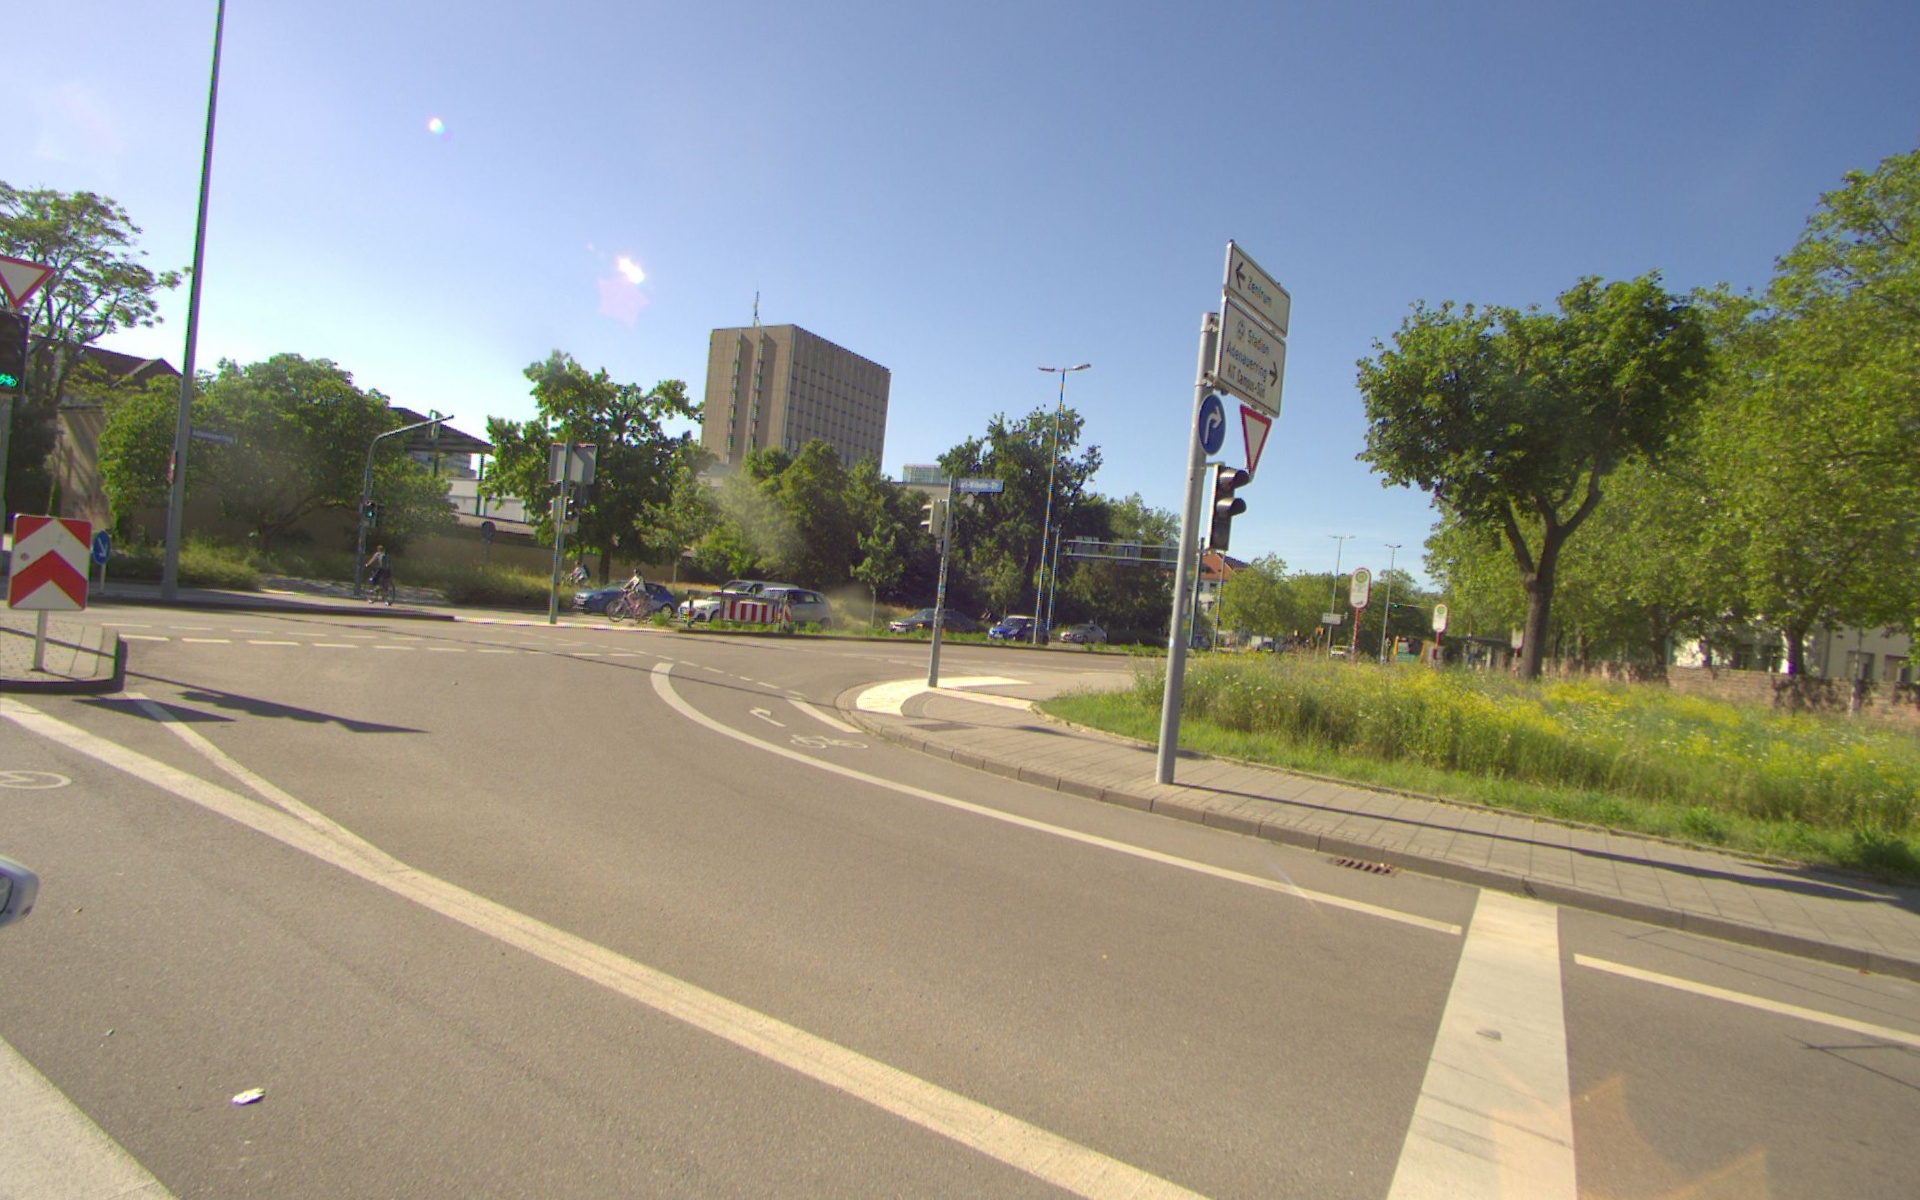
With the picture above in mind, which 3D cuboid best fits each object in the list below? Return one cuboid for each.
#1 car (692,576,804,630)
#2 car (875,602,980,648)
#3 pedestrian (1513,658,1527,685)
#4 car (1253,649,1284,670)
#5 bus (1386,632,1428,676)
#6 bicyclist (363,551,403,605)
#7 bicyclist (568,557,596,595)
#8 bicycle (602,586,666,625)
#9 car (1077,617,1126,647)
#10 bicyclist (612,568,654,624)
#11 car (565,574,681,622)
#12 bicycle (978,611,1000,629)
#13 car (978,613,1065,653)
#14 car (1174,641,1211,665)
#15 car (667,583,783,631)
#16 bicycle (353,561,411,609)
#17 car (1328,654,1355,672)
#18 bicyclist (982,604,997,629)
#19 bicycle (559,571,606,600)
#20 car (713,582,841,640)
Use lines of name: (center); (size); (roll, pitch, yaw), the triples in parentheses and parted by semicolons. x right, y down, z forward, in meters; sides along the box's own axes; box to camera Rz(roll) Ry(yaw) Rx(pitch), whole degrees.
car: (-9.366, 0.164, 44.724); (1.909, 1.976, 4.743); (4, -1, 35)
car: (-1.301, 1.088, 42.502); (1.953, 1.573, 4.710); (4, -2, 35)
pedestrian: (36.124, 4.599, 64.857); (0.642, 1.630, 0.558); (6, -1, 29)
car: (32.786, 6.294, 106.859); (1.907, 1.976, 4.747); (5, -1, 31)
bus: (39.661, 4.859, 89.127); (2.935, 3.310, 6.256); (6, -2, 26)
bicyclist: (-16.882, -0.654, 29.432); (0.764, 1.463, 0.641); (8, 3, 33)
bicyclist: (-17.171, -1.084, 45.746); (0.621, 1.617, 0.830); (9, 3, 30)
bicycle: (-10.705, 0.193, 33.102); (0.736, 1.180, 1.864); (6, 1, 33)
car: (10.492, 2.385, 74.248); (1.907, 1.821, 4.351); (4, -1, 31)
bicyclist: (-10.727, -0.125, 33.010); (0.734, 1.707, 0.974); (6, 2, 33)
car: (-13.014, -0.055, 39.088); (1.678, 1.459, 3.988); (4, -2, 35)
bicycle: (2.032, 1.418, 70.928); (0.632, 1.179, 1.866); (6, 0, 31)
car: (3.043, 1.632, 48.596); (1.953, 1.573, 4.710); (4, -2, 35)
car: (20.659, 4.724, 89.247); (1.816, 1.851, 4.381); (4, -1, 32)
car: (-9.139, 0.301, 39.321); (1.971, 1.487, 3.982); (6, 0, 39)
bicycle: (-16.927, -0.441, 29.457); (1.839, 1.180, 0.641); (8, 2, 33)
car: (45.208, 7.481, 119.209); (1.908, 1.976, 4.520); (4, -1, 34)
bicyclist: (2.077, 1.136, 70.936); (0.632, 1.666, 0.775); (6, 1, 31)
bicycle: (-17.176, -0.649, 45.815); (0.632, 1.180, 1.952); (9, 2, 31)
car: (-6.316, 0.411, 35.129); (1.762, 1.644, 4.303); (4, -2, 35)
